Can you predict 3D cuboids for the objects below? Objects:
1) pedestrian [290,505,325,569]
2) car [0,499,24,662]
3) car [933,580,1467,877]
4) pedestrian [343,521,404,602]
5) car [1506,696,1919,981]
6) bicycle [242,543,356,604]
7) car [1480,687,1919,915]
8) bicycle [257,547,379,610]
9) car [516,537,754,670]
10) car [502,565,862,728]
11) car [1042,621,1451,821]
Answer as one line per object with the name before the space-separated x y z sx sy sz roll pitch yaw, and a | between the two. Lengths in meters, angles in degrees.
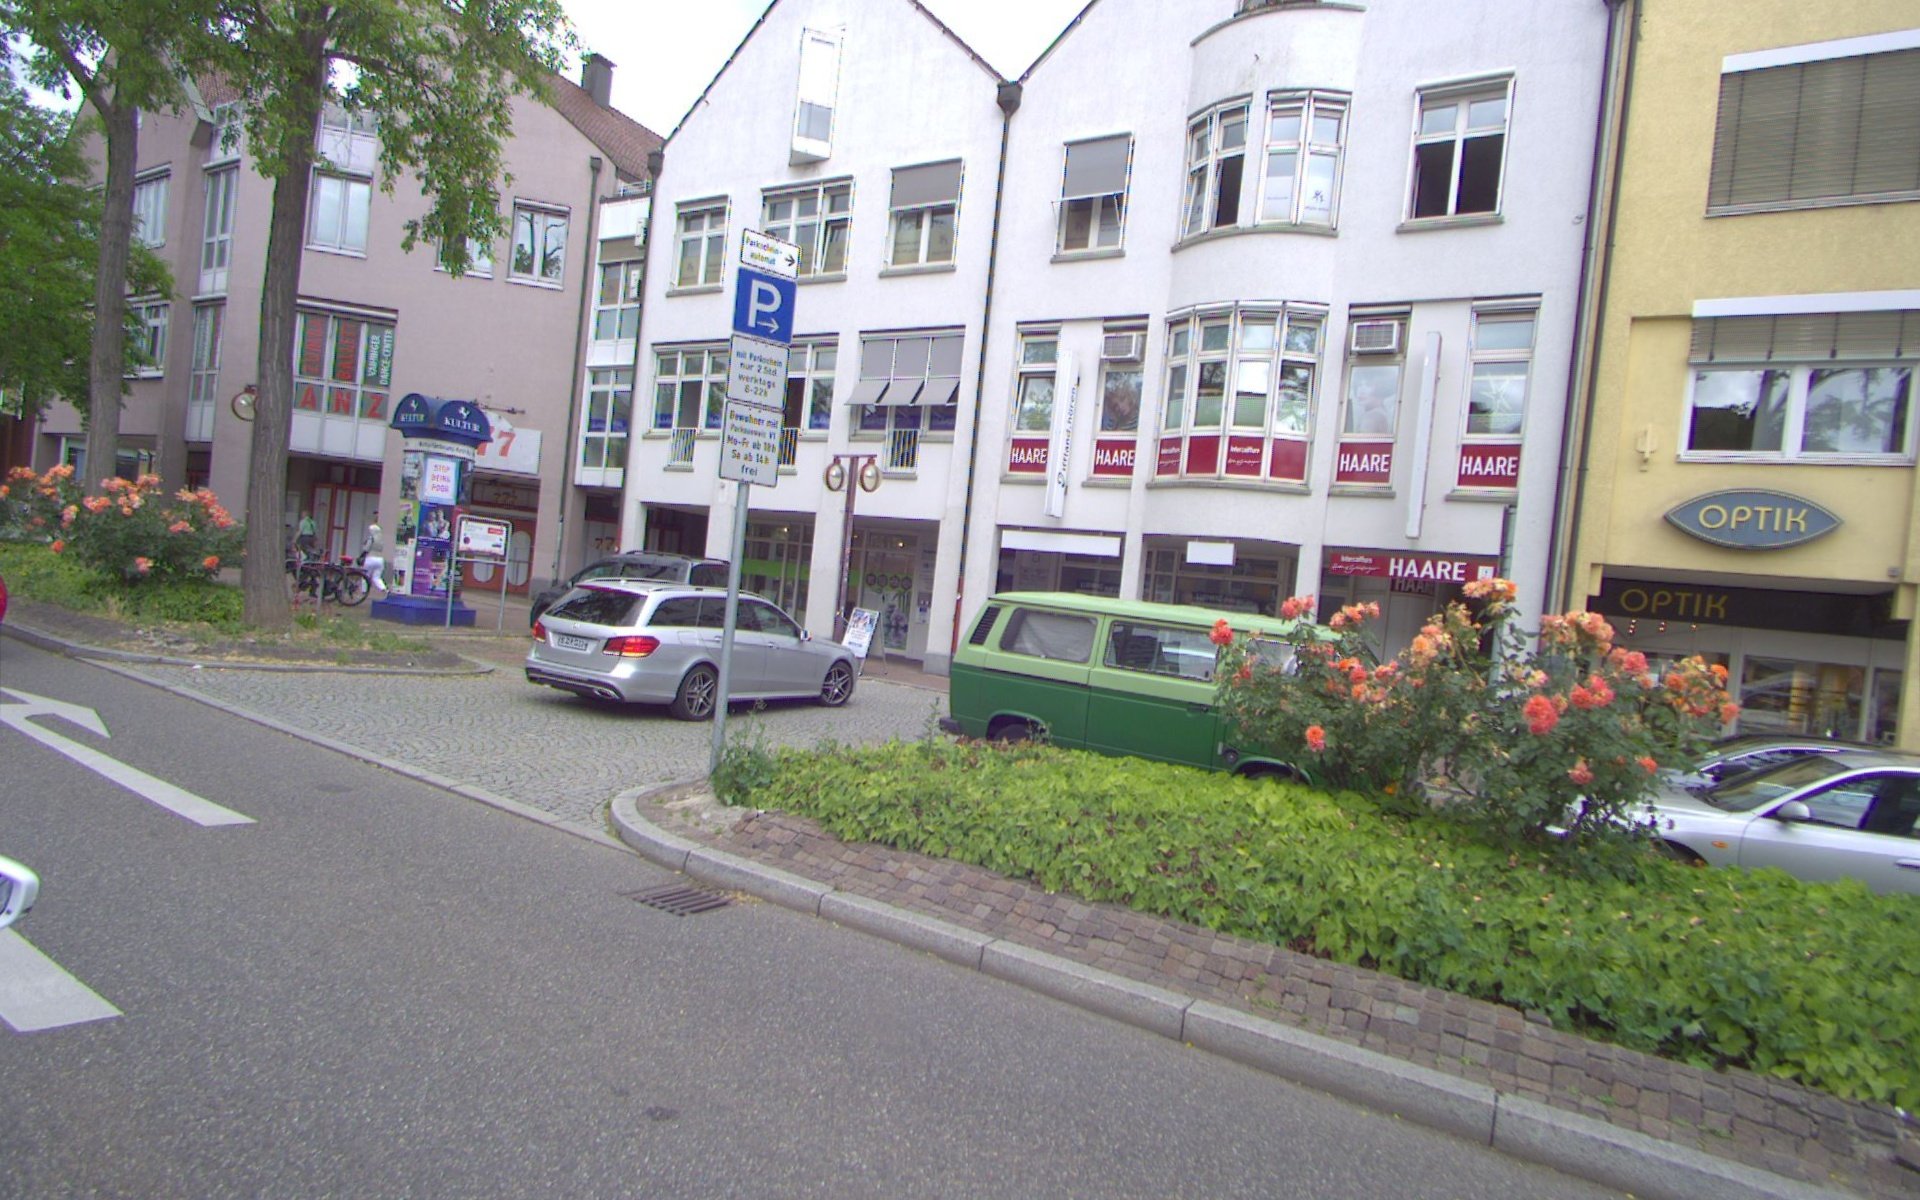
pedestrian | -18.357 -1.759 28.293 0.631 1.697 0.584 7 1 -30
car | -10.384 -0.412 9.315 3.293 1.459 1.590 7 -2 32
car | 2.232 1.019 9.743 4.527 1.900 1.882 7 1 30
pedestrian | -12.951 -0.847 22.229 0.805 1.681 0.789 7 3 31
car | 6.550 1.772 7.364 4.344 1.468 1.765 7 0 30
bicycle | -12.997 -0.504 19.822 0.440 1.009 1.769 7 0 35
car | 7.666 1.897 9.907 4.344 1.394 1.999 7 1 30
bicycle | -12.489 -0.406 19.621 0.460 1.009 1.902 7 0 35
car | -5.821 0.037 17.972 3.897 1.855 1.640 7 1 27
car | -3.201 0.544 12.580 1.788 1.467 4.363 8 2 26
car | 3.391 1.305 12.140 4.319 1.562 1.798 7 1 30
